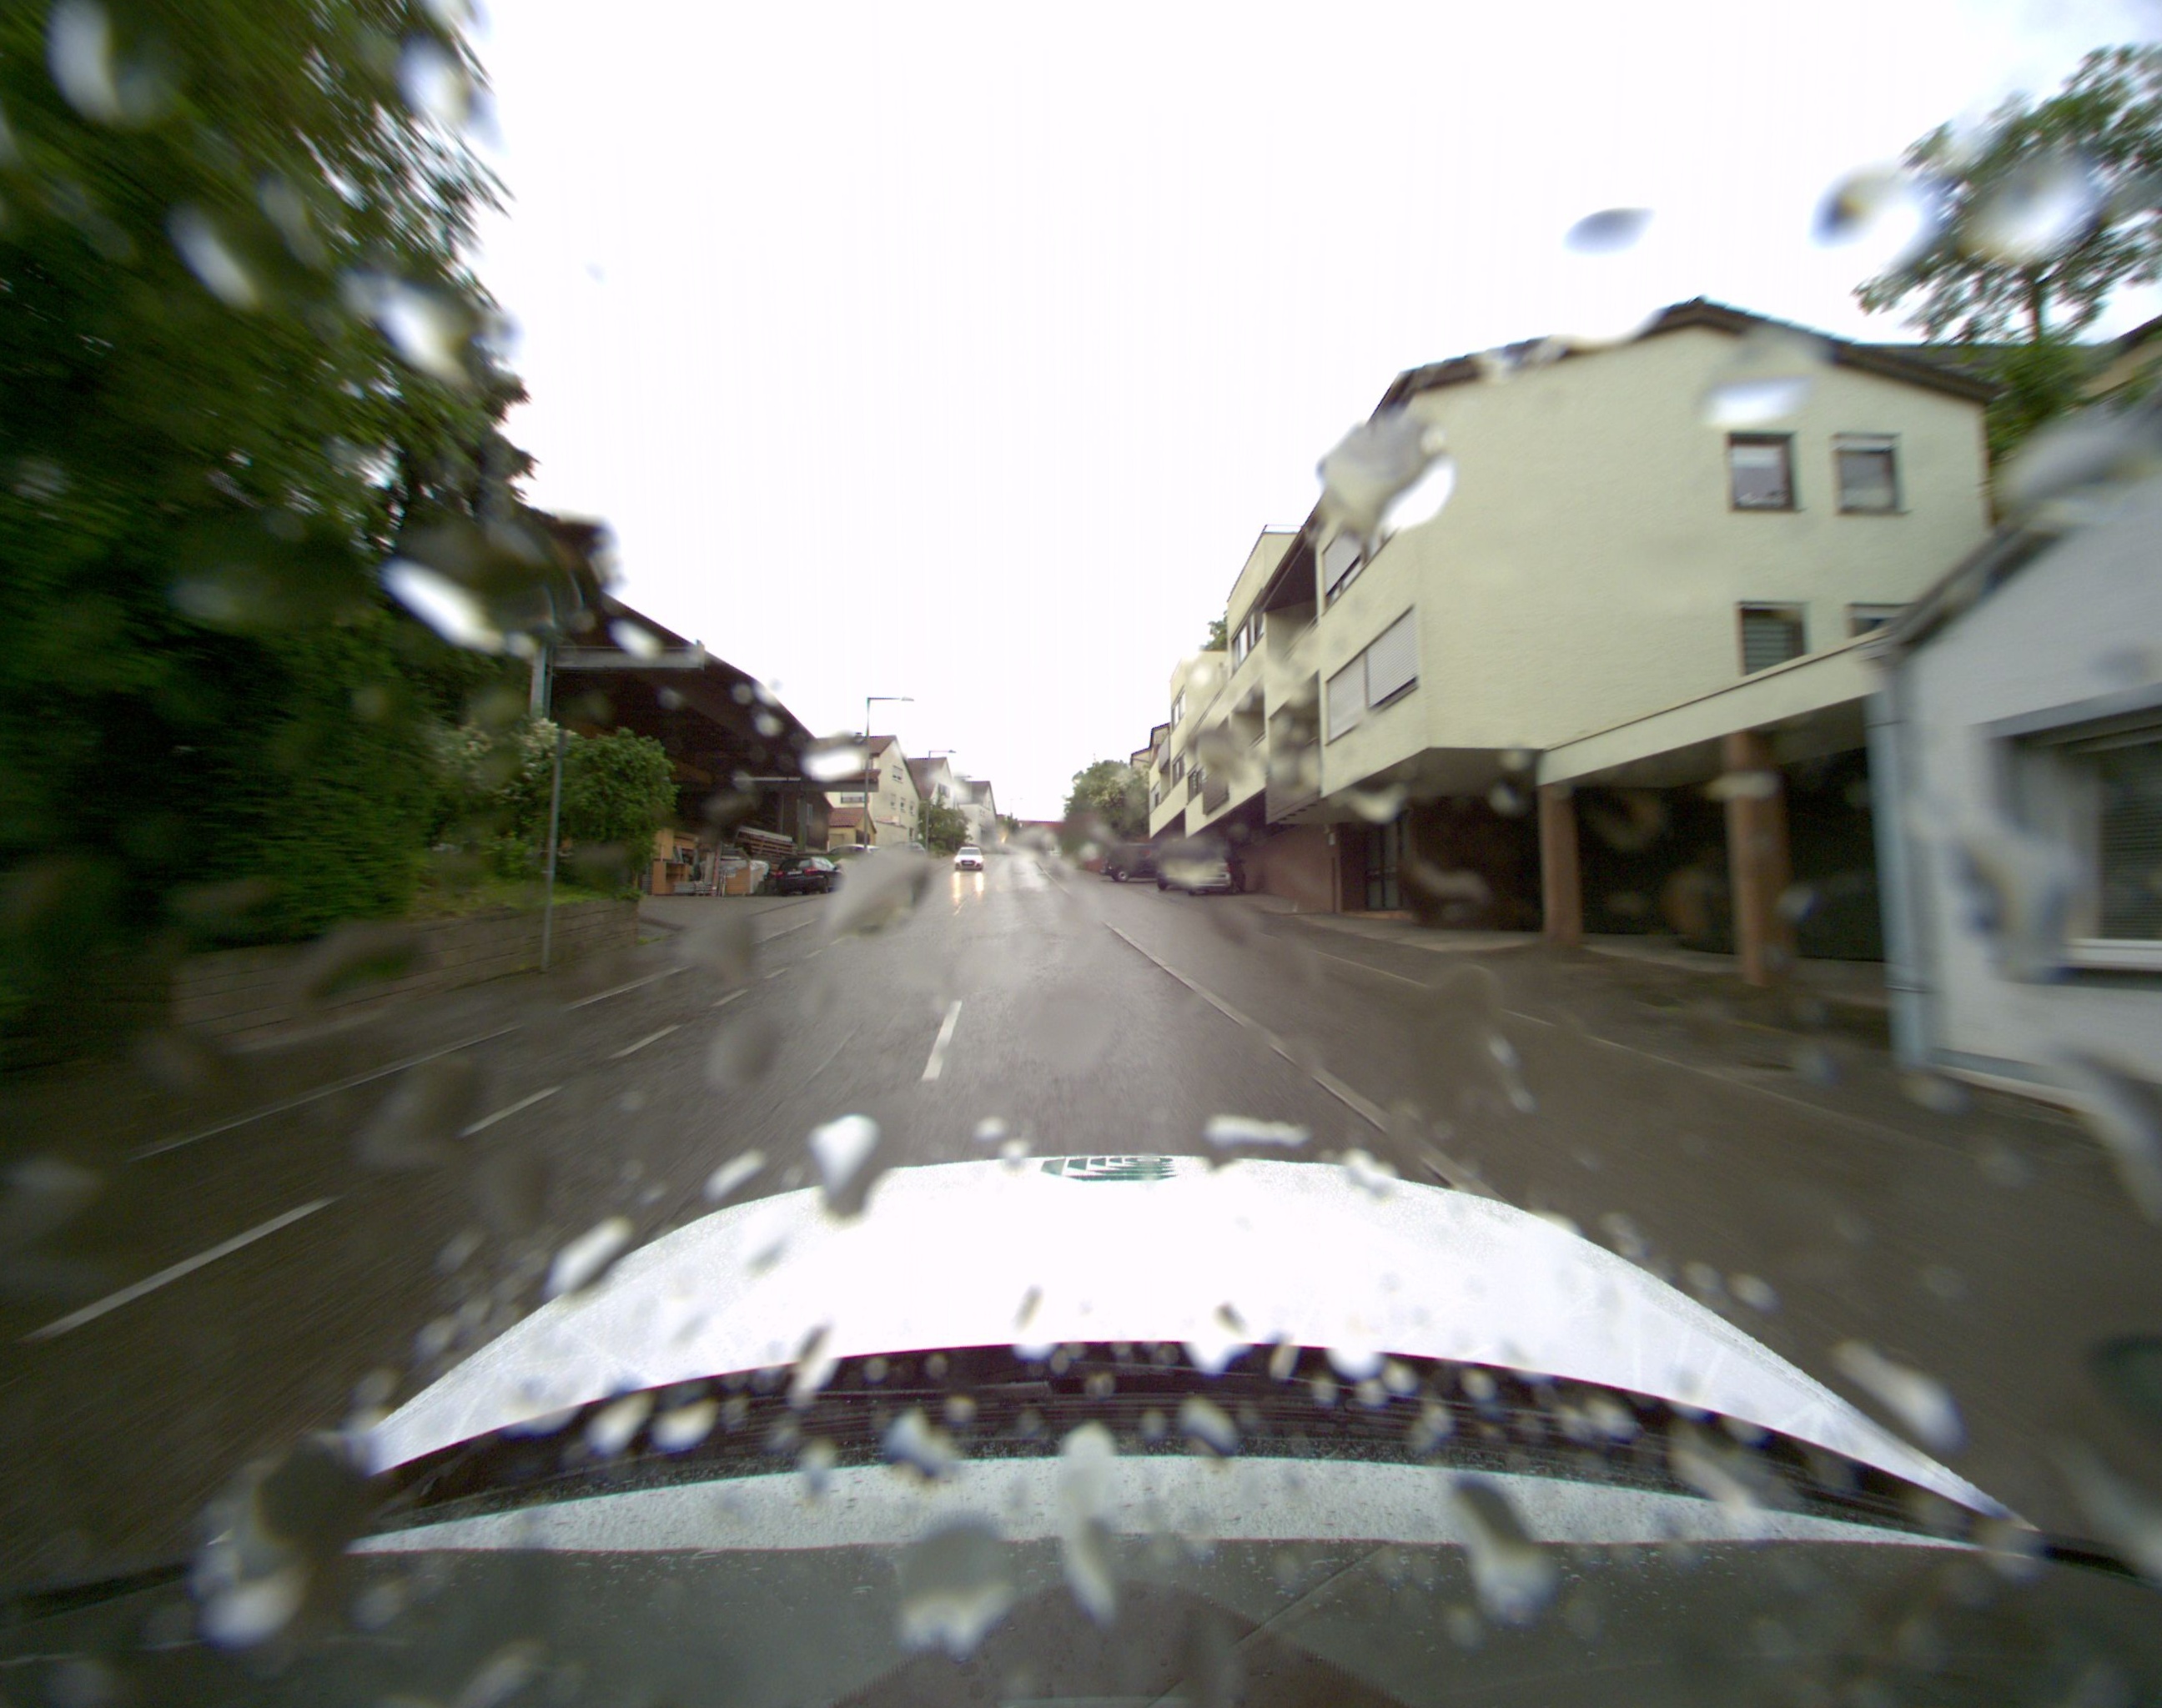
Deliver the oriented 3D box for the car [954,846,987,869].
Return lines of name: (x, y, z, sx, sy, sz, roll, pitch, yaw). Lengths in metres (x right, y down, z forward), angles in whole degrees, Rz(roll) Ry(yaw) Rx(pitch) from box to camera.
car: (-7.176, 0.214, 53.063, 1.699, 1.388, 4.047, -2, 0, -3)

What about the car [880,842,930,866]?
car: (-12.893, -0.040, 60.030, 1.963, 1.659, 4.974, 0, 1, 8)

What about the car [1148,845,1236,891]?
car: (4.345, 0.514, 31.456, 1.765, 1.578, 4.092, 2, 1, 33)

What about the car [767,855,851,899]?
car: (-10.286, 0.824, 31.138, 1.890, 1.441, 4.441, -2, 1, -3)

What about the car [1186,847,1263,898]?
car: (5.078, 0.605, 28.460, 1.766, 1.578, 4.089, 2, 1, 22)

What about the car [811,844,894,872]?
car: (-12.665, 0.208, 45.253, 3.966, 1.505, 1.904, 0, 1, 6)

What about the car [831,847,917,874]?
car: (-12.143, 0.373, 47.954, 4.473, 1.505, 1.904, 0, 1, 6)

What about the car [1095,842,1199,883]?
car: (3.095, 0.367, 38.761, 4.701, 1.820, 1.996, 0, 1, -6)
